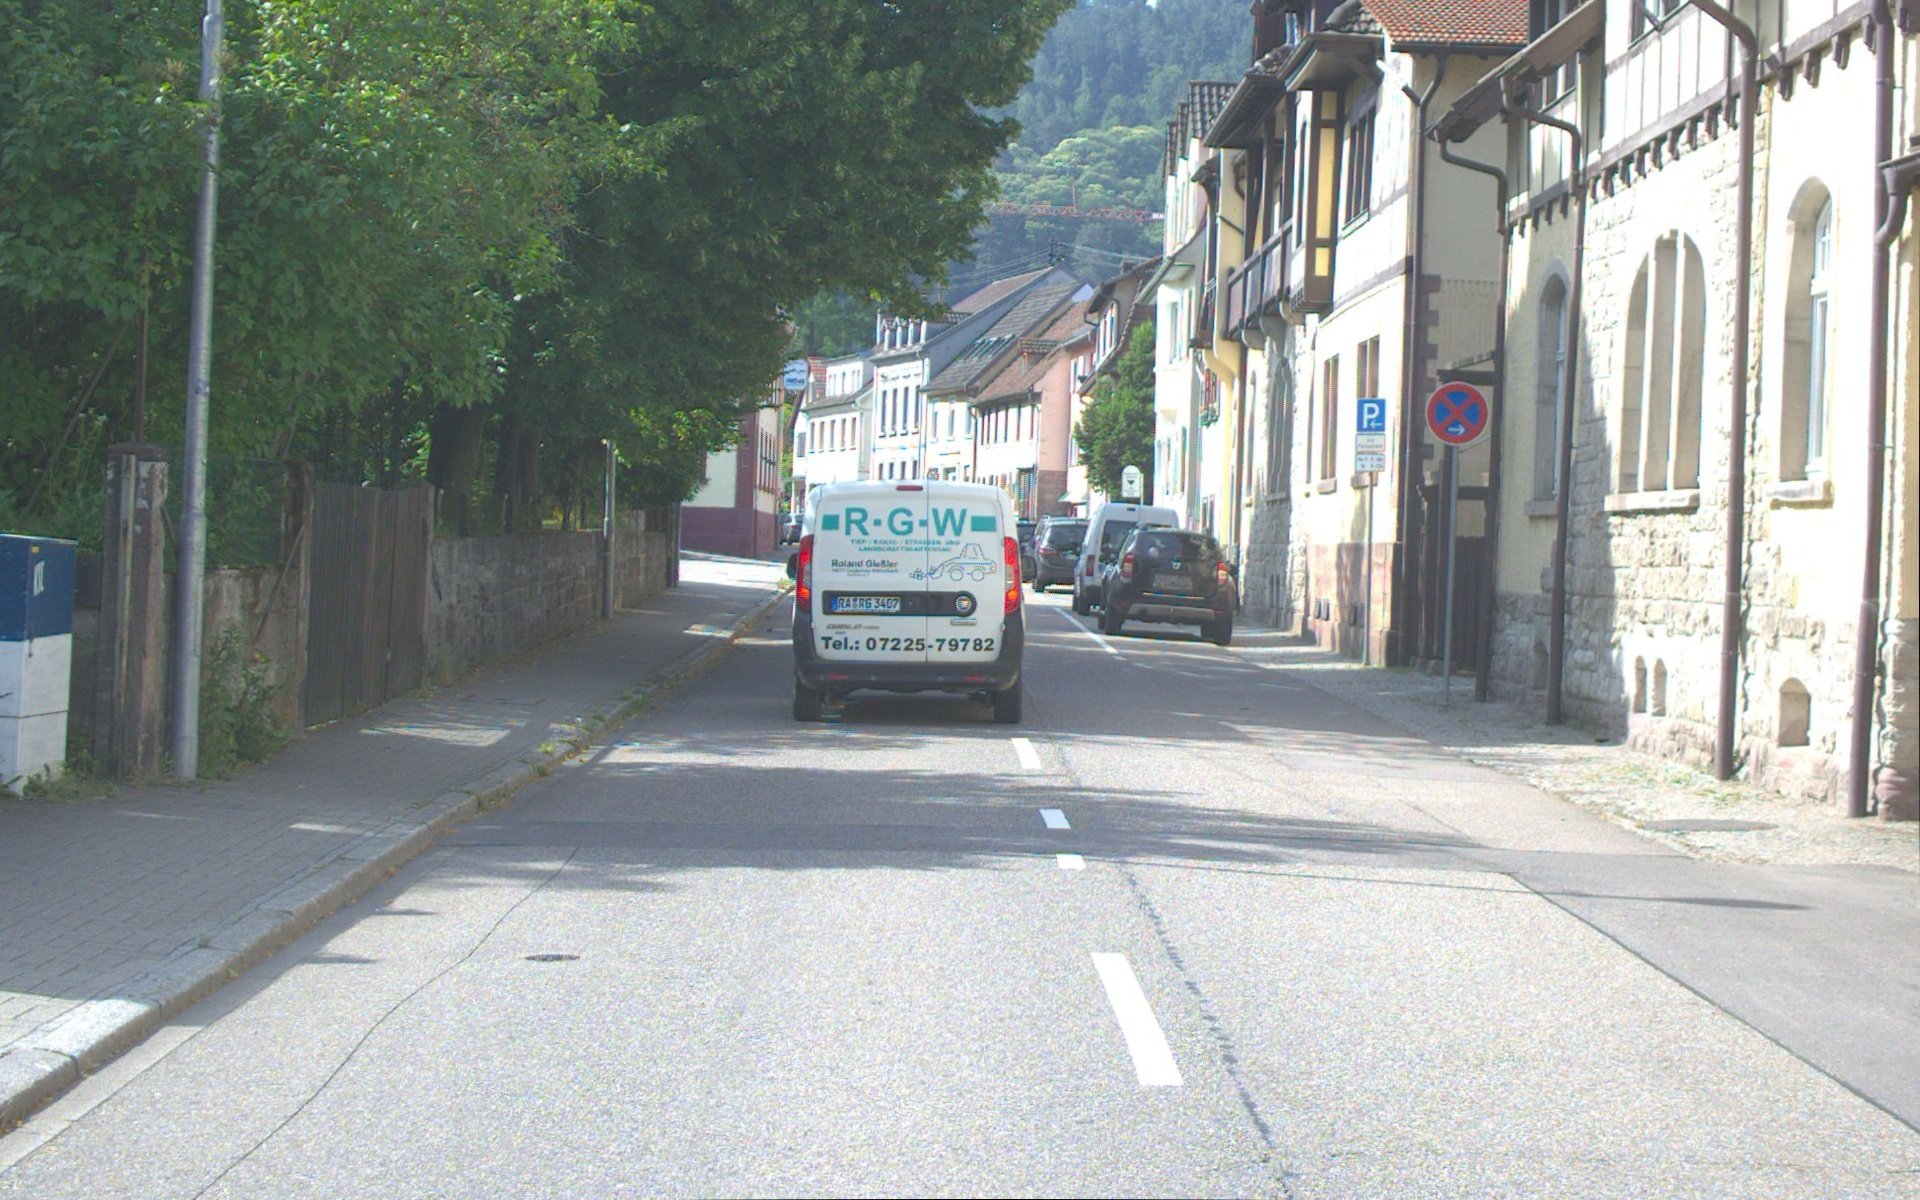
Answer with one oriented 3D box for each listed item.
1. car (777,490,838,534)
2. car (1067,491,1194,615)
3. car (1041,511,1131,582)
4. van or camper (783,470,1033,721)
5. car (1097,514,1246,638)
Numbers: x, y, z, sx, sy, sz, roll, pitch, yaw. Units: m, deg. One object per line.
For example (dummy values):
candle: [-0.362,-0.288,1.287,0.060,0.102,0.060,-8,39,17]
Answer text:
car: [-7.012,-4.048,157.481,1.993,1.776,4.002,4,2,-13]
car: [2.960,-0.849,60.523,1.871,2.007,4.000,3,1,-1]
car: [2.798,-1.222,77.037,1.669,1.503,4.001,1,1,-2]
van or camper: [-0.440,-0.079,27.588,1.828,1.838,4.189,1,1,-2]
car: [3.062,-0.386,50.422,1.810,1.591,3.927,4,2,0]
